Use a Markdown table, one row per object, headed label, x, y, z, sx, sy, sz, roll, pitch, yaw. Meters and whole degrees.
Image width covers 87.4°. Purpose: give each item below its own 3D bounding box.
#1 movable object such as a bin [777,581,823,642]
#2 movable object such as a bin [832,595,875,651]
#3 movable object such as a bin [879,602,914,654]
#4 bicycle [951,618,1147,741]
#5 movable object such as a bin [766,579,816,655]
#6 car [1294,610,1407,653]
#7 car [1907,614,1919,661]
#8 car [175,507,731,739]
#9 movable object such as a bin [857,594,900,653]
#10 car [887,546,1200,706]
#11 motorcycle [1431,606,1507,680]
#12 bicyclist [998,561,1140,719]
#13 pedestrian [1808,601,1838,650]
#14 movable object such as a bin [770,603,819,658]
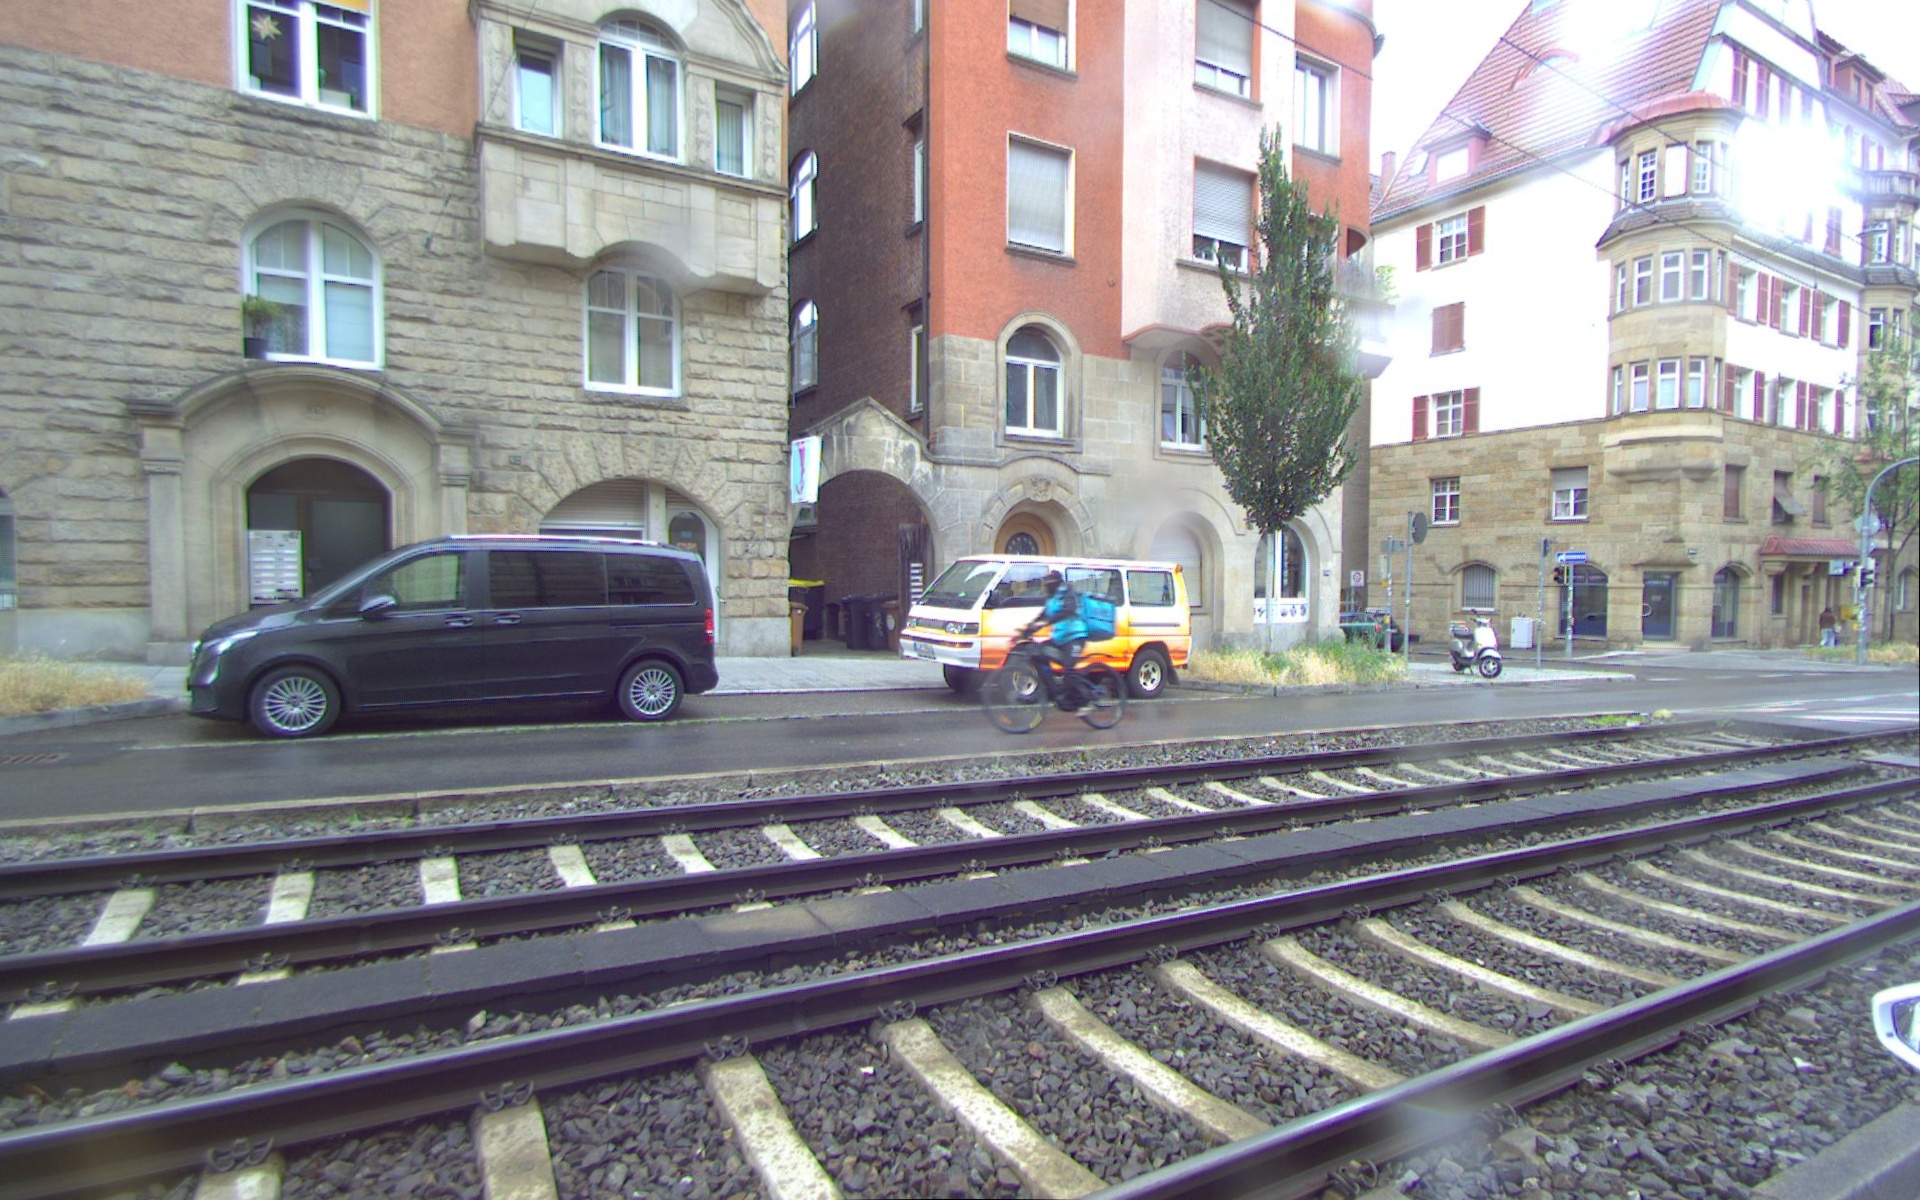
| label | x | y | z | sx | sy | sz | roll | pitch | yaw |
| --- | --- | --- | --- | --- | --- | --- | --- | --- | --- |
| movable object such as a bin | -3.618 | 0.240 | 22.648 | 0.676 | 1.324 | 1.154 | 1 | 1 | -26 |
| movable object such as a bin | -2.091 | 0.447 | 19.677 | 0.607 | 1.052 | 0.793 | 1 | -1 | -27 |
| movable object such as a bin | -1.180 | 0.517 | 18.623 | 0.442 | 0.957 | 0.557 | 1 | -1 | -27 |
| bicycle | 0.984 | 0.825 | 10.896 | 2.014 | 1.202 | 0.819 | 2 | 0 | -32 |
| movable object such as a bin | -3.114 | 0.303 | 18.455 | 0.648 | 1.360 | 0.903 | 1 | 1 | -27 |
| car | 14.455 | 1.155 | 37.334 | 1.683 | 1.423 | 3.618 | 2 | 0 | -34 |
| car | 34.161 | 1.328 | 34.344 | 3.994 | 1.573 | 1.741 | 2 | 0 | -34 |
| car | -5.058 | 0.253 | 10.586 | 4.769 | 1.968 | 1.984 | 2 | 0 | -30 |
| movable object such as a bin | -1.553 | 0.442 | 19.131 | 0.607 | 1.090 | 0.679 | 1 | -1 | -27 |
| car | 1.268 | 0.378 | 14.430 | 4.295 | 2.001 | 1.721 | 2 | 0 | -32 |
| motorcycle | 10.099 | 0.831 | 19.991 | 0.612 | 1.384 | 1.596 | 2 | 0 | -3 |
| bicyclist | 1.189 | 0.421 | 11.018 | 1.239 | 1.618 | 0.880 | 1 | 0 | -31 |
| pedestrian | 30.270 | 0.887 | 35.229 | 0.696 | 1.695 | 0.626 | 2 | 0 | -38 |
| movable object such as a bin | -2.899 | 0.525 | 17.582 | 0.627 | 0.918 | 0.793 | 1 | 1 | -27 |
